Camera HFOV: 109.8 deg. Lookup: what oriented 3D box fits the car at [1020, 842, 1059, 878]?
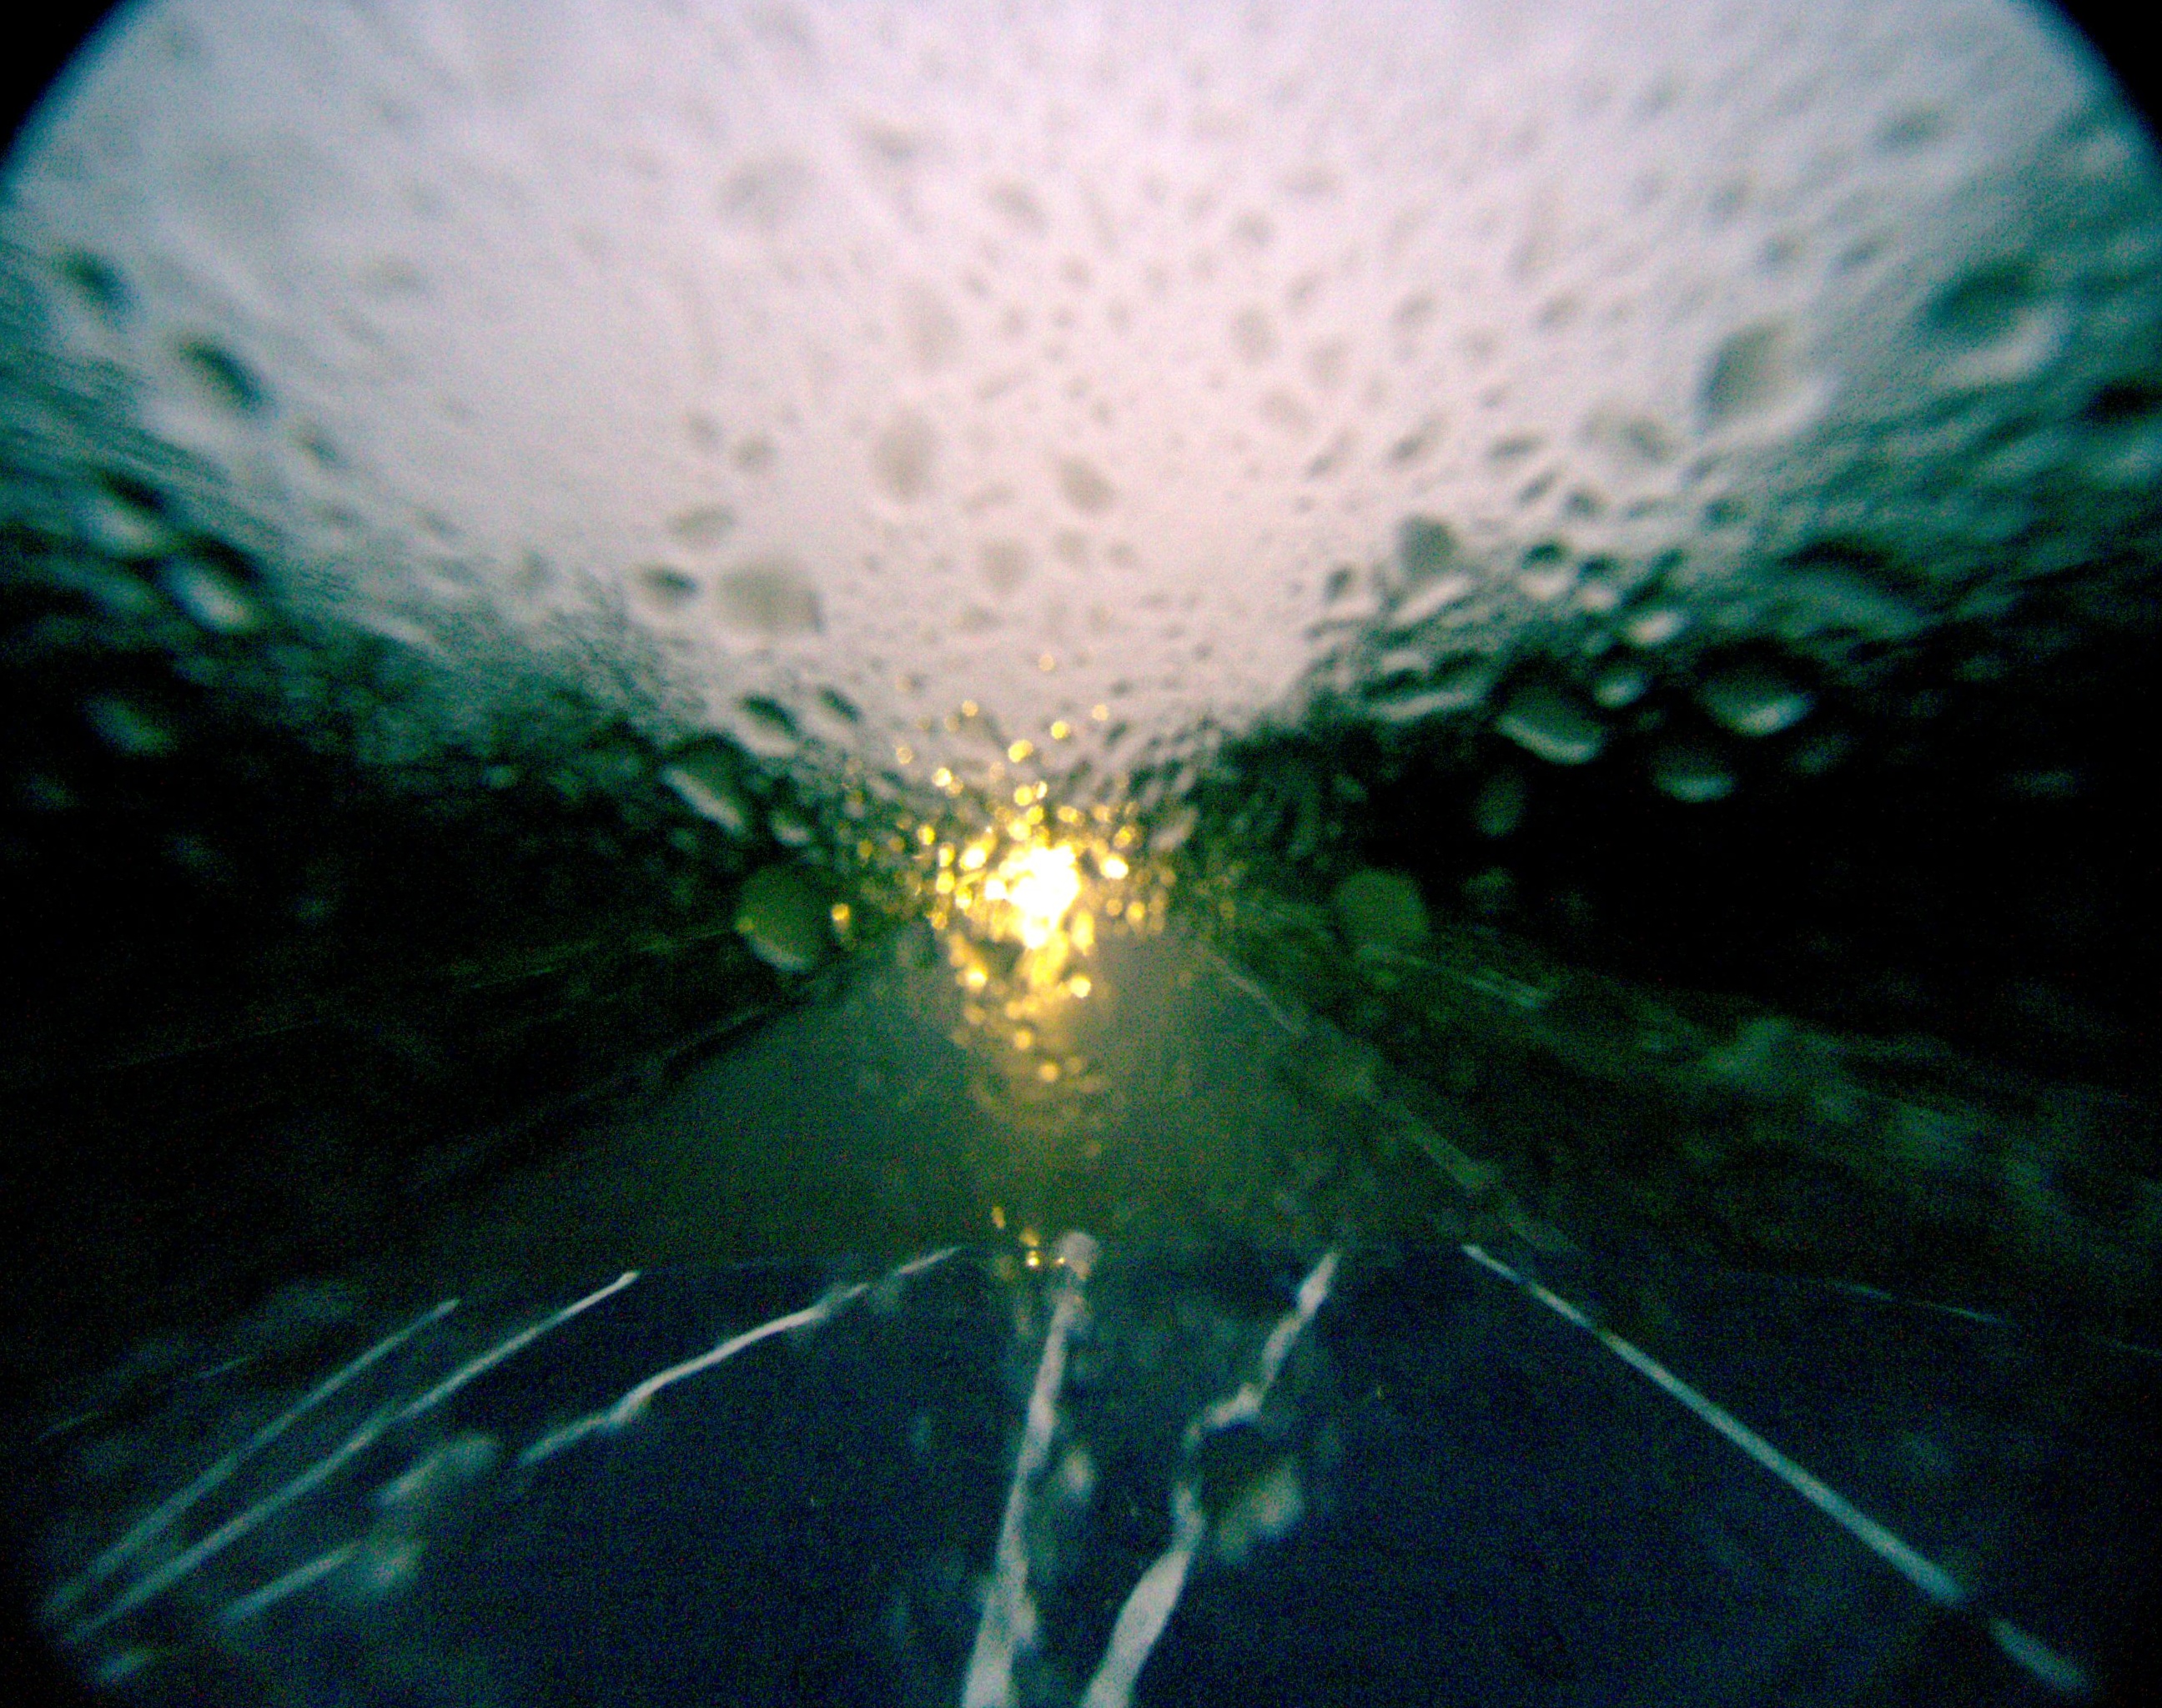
[{"bbox_3d":[-2.480,0.375,44.431,2.000,2.001,3.962,0,-1,-8],"label":"car"}]
